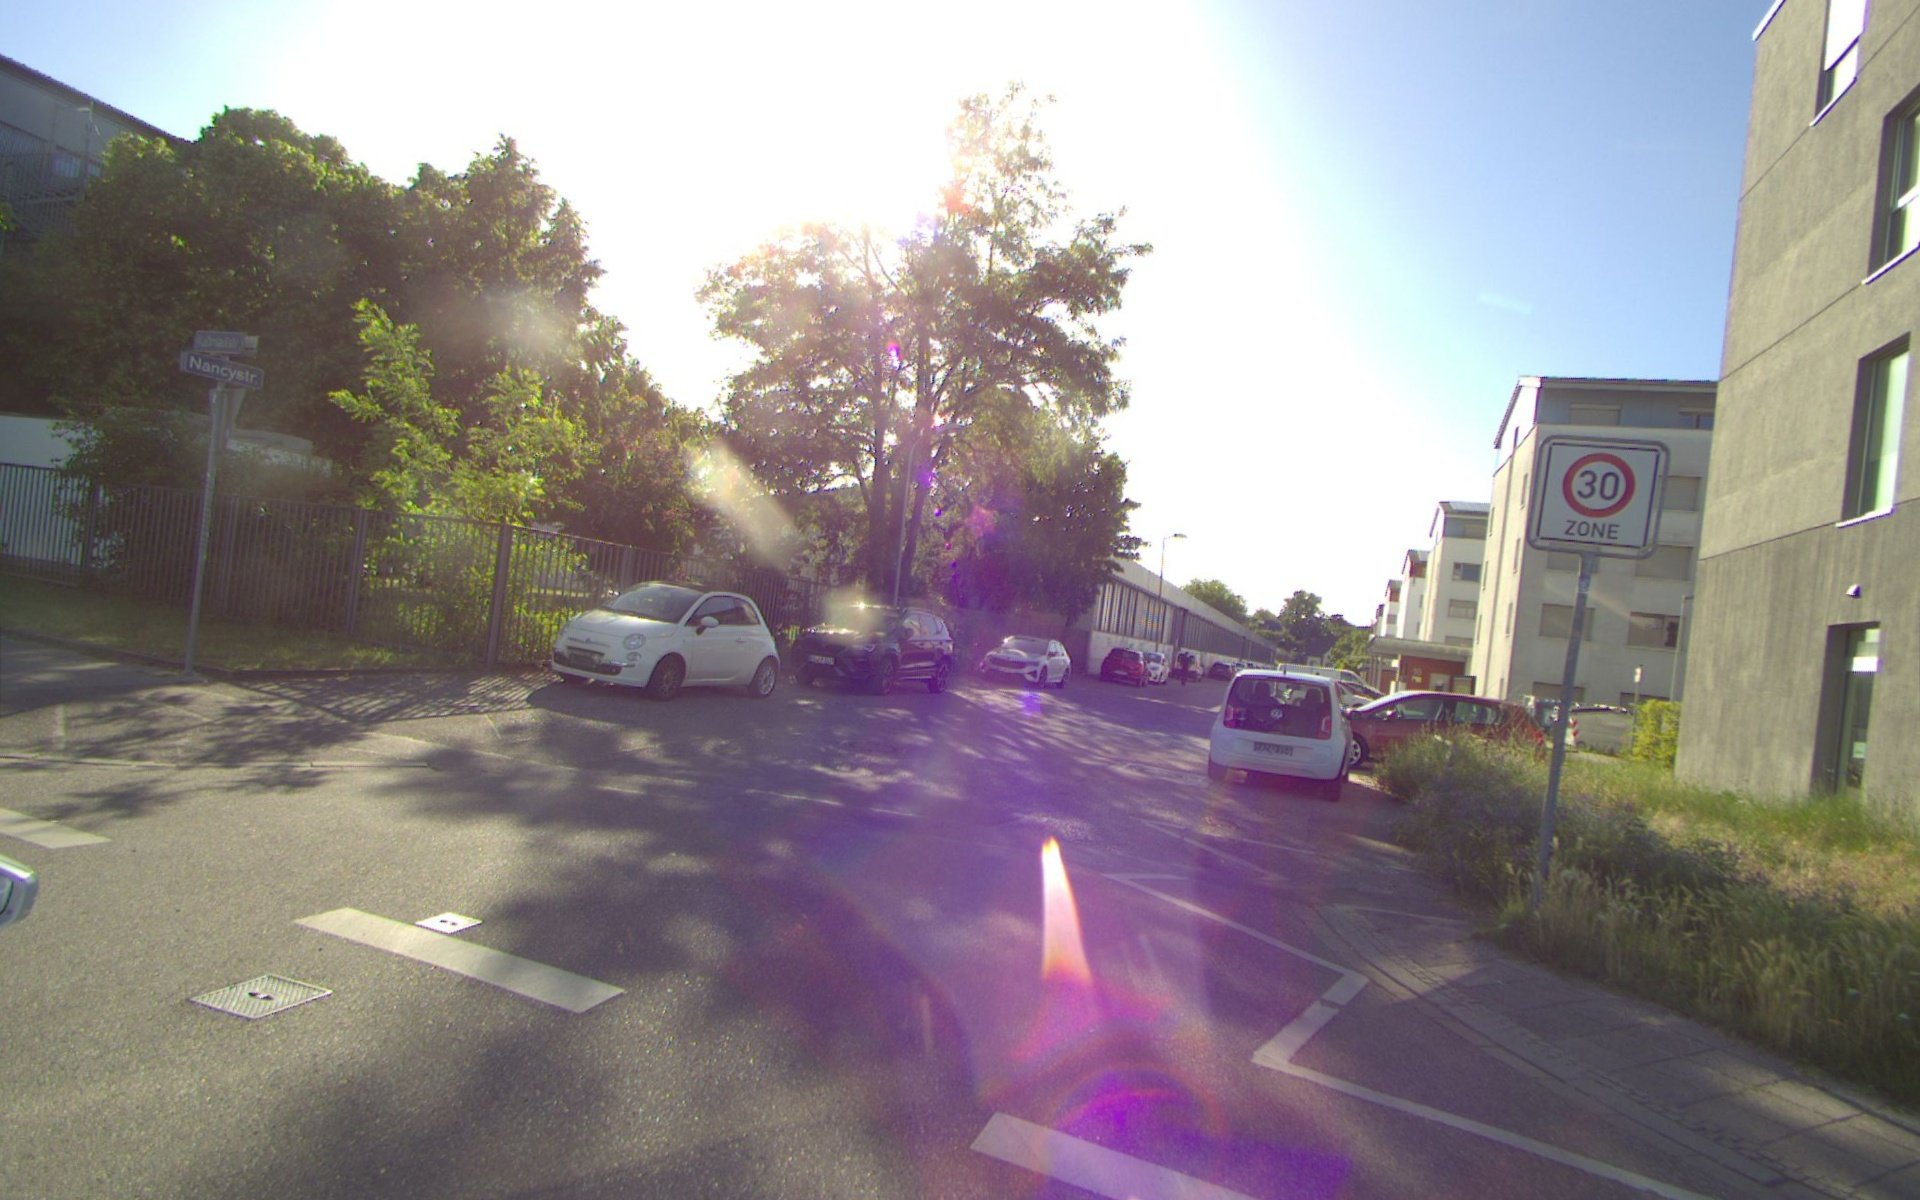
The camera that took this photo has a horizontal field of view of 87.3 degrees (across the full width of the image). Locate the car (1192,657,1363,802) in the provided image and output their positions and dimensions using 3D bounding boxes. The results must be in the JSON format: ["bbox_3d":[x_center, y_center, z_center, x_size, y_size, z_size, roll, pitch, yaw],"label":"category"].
[{"bbox_3d":[4.375,1.651,13.544,1.684,1.475,3.337,7,-1,24],"label":"car"}]

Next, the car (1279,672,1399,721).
[{"bbox_3d":[15.858,4.028,42.279,4.516,1.365,2.001,7,-1,20],"label":"car"}]

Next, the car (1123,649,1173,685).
[{"bbox_3d":[9.030,3.219,48.120,1.679,1.454,4.003,7,-2,18],"label":"car"}]

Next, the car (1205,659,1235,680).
[{"bbox_3d":[21.581,5.784,83.401,1.951,1.454,4.002,7,-2,20],"label":"car"}]

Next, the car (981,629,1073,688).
[{"bbox_3d":[2.069,1.755,29.929,1.679,1.454,4.003,7,-2,18],"label":"car"}]

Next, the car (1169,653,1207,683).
[{"bbox_3d":[14.572,4.345,64.131,1.680,1.688,4.002,7,-1,20],"label":"car"}]

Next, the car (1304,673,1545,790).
[{"bbox_3d":[8.799,2.450,19.436,3.925,1.538,1.699,7,0,20],"label":"car"}]

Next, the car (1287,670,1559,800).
[{"bbox_3d":[7.759,2.220,17.247,3.925,1.488,1.699,7,0,20],"label":"car"}]

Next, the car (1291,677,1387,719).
[{"bbox_3d":[17.621,4.549,46.958,4.011,1.365,1.764,7,-1,20],"label":"car"}]

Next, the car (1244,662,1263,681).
[{"bbox_3d":[36.400,8.860,124.789,1.962,2.037,4.003,7,-1,17],"label":"car"}]

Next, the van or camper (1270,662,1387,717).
[{"bbox_3d":[18.416,4.461,50.392,5.199,1.981,2.000,7,-1,22],"label":"van or camper"}]

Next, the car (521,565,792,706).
[{"bbox_3d":[-3.944,0.529,13.686,1.570,1.503,3.559,7,-1,20],"label":"car"}]

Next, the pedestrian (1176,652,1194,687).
[{"bbox_3d":[11.543,3.579,51.700,0.656,1.681,0.487,7,0,20],"label":"pedestrian"}]

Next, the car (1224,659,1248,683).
[{"bbox_3d":[27.057,6.935,98.698,1.962,2.037,4.003,7,-1,17],"label":"car"}]

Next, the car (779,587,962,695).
[{"bbox_3d":[-1.556,0.825,19.180,1.723,1.656,4.168,7,-1,20],"label":"car"}]
